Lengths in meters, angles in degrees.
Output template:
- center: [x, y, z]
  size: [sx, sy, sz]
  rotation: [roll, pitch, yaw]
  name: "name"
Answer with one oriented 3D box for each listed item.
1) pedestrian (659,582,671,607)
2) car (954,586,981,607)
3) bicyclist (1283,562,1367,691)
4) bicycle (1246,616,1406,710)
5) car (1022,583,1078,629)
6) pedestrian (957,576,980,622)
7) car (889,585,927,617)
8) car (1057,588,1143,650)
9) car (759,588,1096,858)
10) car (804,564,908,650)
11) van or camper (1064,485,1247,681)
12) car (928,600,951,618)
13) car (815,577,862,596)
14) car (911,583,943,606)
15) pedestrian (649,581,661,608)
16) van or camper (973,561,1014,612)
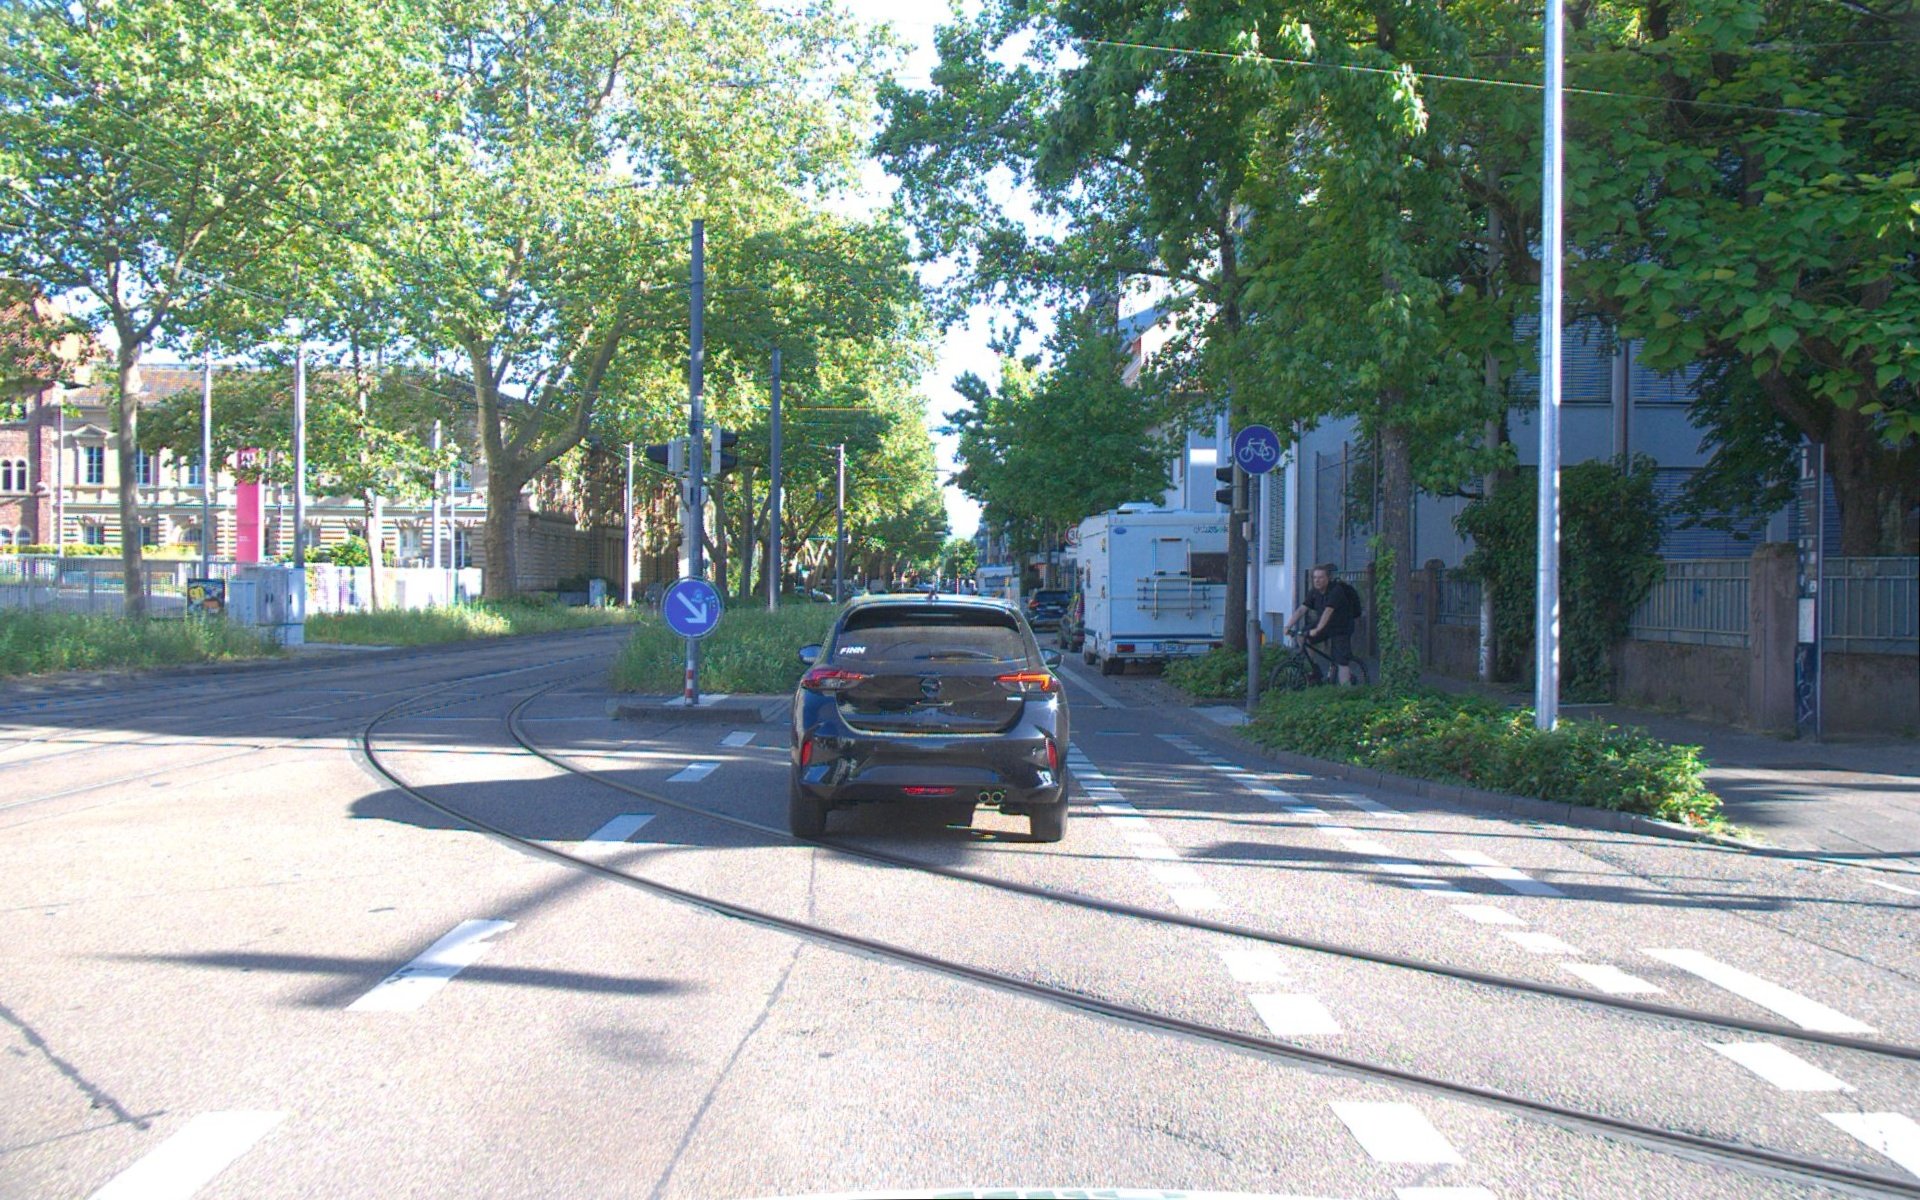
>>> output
- center: [-19.808, -0.384, 110.974]
  size: [0.645, 1.650, 0.615]
  rotation: [2, 0, -1]
  name: "pedestrian"
- center: [0.572, -0.281, 119.480]
  size: [1.865, 1.450, 4.216]
  rotation: [0, 1, 1]
  name: "car"
- center: [4.427, 0.309, 20.097]
  size: [0.691, 1.536, 0.745]
  rotation: [0, 0, -25]
  name: "bicyclist"
- center: [4.456, 0.747, 20.105]
  size: [1.919, 1.089, 0.636]
  rotation: [0, 0, -25]
  name: "bicycle"
- center: [3.141, 0.183, 58.532]
  size: [1.753, 1.536, 3.874]
  rotation: [-2, 1, 0]
  name: "car"
- center: [0.389, -0.041, 75.228]
  size: [1.015, 2.059, 1.212]
  rotation: [0, 0, -1]
  name: "pedestrian"
- center: [-2.631, 0.025, 84.514]
  size: [1.753, 1.536, 3.874]
  rotation: [-2, 1, 0]
  name: "car"
- center: [3.448, 0.439, 41.445]
  size: [1.652, 1.445, 4.047]
  rotation: [-1, 1, -2]
  name: "car"
- center: [-0.144, 0.667, 11.288]
  size: [1.865, 1.450, 4.216]
  rotation: [0, 1, 1]
  name: "car"
- center: [-2.180, 0.115, 35.805]
  size: [1.953, 1.656, 4.470]
  rotation: [2, 1, -1]
  name: "car"
- center: [3.524, -0.329, 31.556]
  size: [2.327, 3.179, 7.549]
  rotation: [-3, 1, -1]
  name: "van or camper"
- center: [-1.800, 0.770, 143.462]
  size: [1.865, 1.450, 4.216]
  rotation: [0, 1, 1]
  name: "car"
- center: [-14.756, -1.626, 200.689]
  size: [5.571, 2.236, 2.289]
  rotation: [0, 0, 0]
  name: "car"
- center: [-2.088, -0.378, 105.767]
  size: [1.865, 1.450, 4.216]
  rotation: [0, 1, 1]
  name: "car"
- center: [-20.421, -0.384, 110.683]
  size: [0.605, 1.763, 0.596]
  rotation: [2, 0, -1]
  name: "pedestrian"
- center: [2.130, -0.878, 105.030]
  size: [2.435, 3.046, 5.435]
  rotation: [2, 0, 1]
  name: "van or camper"
